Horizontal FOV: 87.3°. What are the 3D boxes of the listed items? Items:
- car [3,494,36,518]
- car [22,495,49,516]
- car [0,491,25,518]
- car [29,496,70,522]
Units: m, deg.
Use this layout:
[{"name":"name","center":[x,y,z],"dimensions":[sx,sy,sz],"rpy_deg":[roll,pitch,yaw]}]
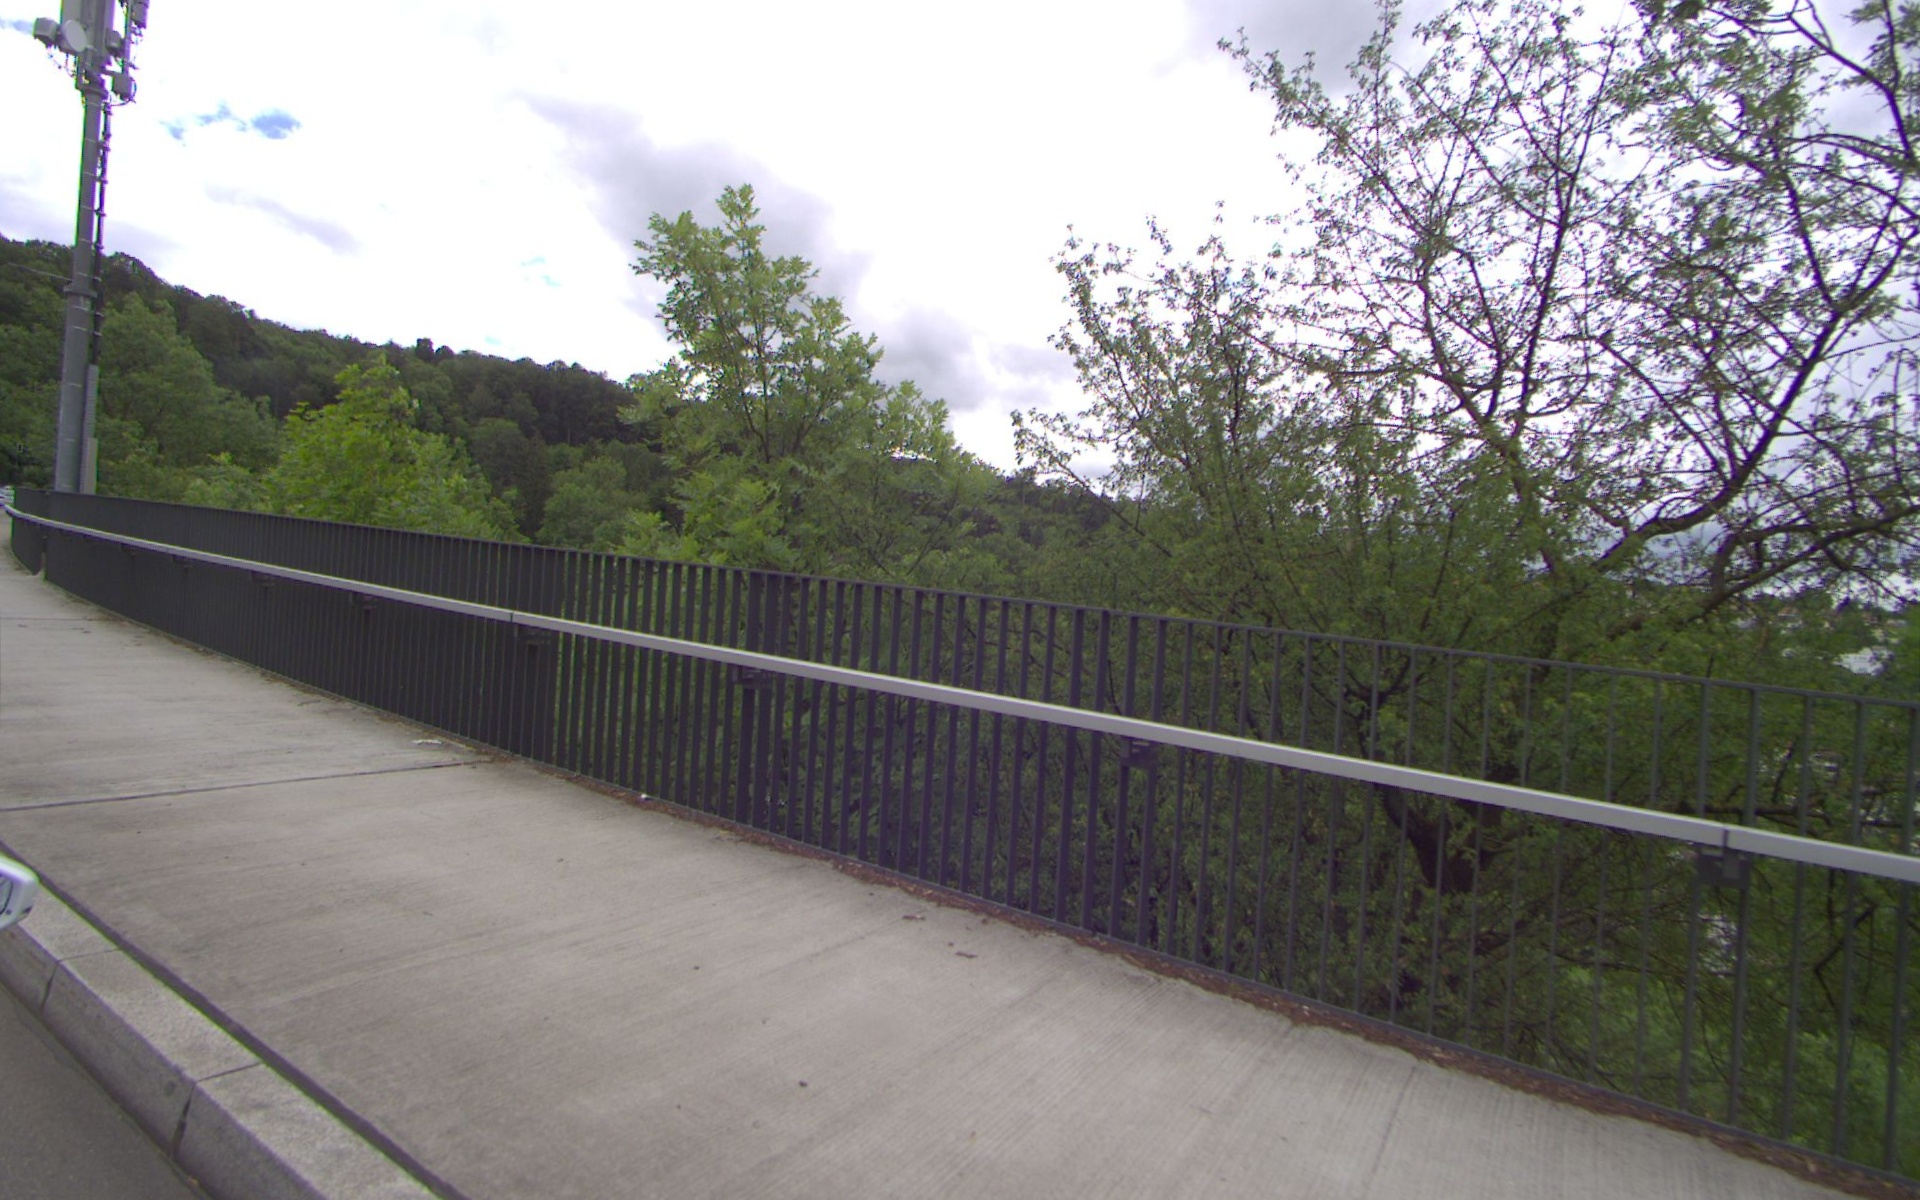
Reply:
[{"name":"car","center":[-92.335,-9.212,98.788],"dimensions":[1.986,2.038,3.955],"rpy_deg":[8,-1,-40]},{"name":"car","center":[-110.192,-11.249,119.930],"dimensions":[1.986,2.038,3.955],"rpy_deg":[8,-1,-40]},{"name":"car","center":[-75.259,-7.600,79.300],"dimensions":[1.987,1.882,3.953],"rpy_deg":[8,-1,-42]},{"name":"car","center":[-66.697,-6.706,73.701],"dimensions":[3.946,1.526,1.811],"rpy_deg":[7,-1,43]}]
